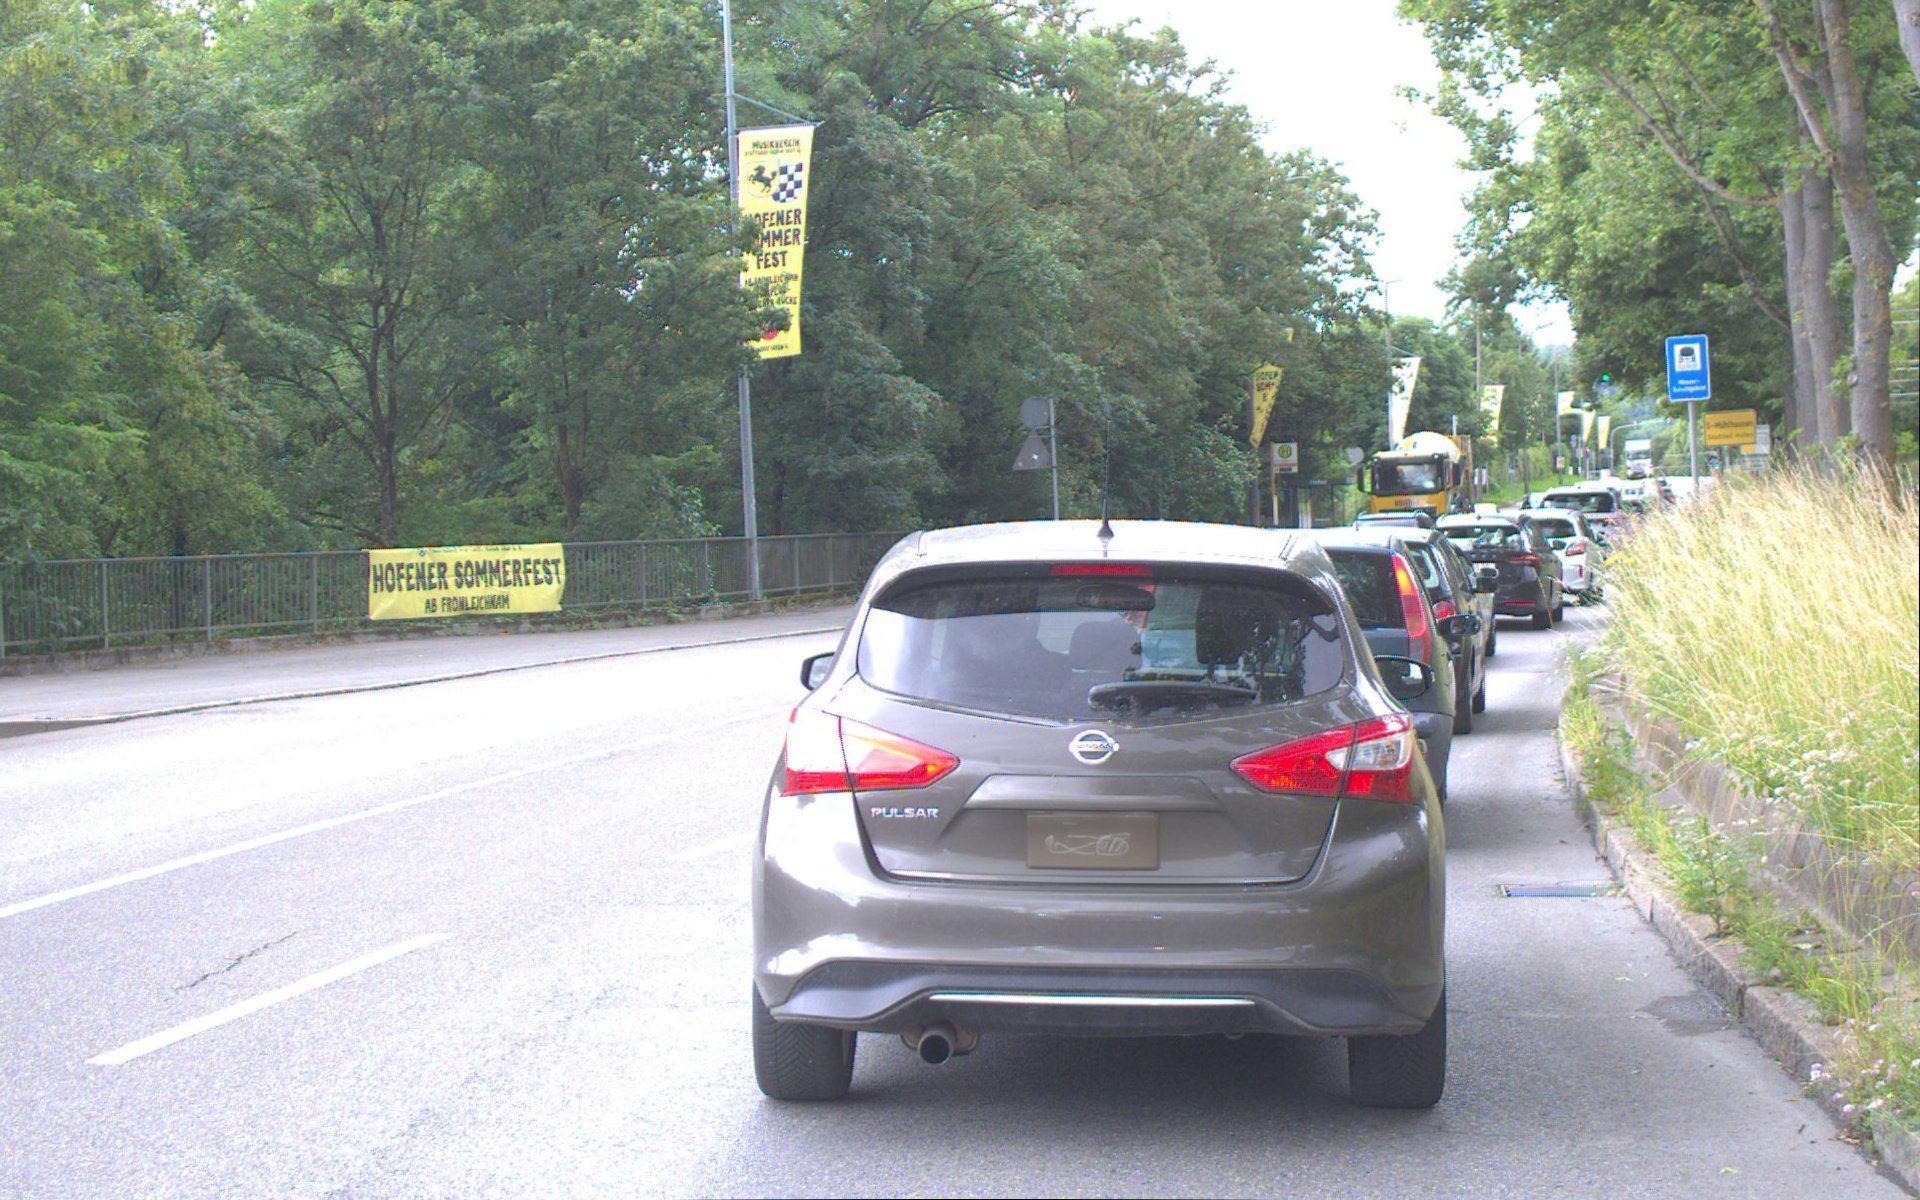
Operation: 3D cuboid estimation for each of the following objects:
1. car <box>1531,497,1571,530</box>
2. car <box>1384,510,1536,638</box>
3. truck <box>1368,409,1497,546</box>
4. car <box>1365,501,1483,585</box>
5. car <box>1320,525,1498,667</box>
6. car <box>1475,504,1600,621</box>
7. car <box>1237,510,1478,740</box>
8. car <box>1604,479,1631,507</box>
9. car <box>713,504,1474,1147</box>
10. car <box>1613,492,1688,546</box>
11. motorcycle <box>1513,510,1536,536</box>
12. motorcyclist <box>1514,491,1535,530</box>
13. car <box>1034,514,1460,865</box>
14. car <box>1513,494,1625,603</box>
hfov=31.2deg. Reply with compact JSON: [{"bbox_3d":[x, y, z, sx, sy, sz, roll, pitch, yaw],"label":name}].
[{"bbox_3d":[27.998,-4.097,162.787,1.722,1.437,3.998,-2,0,12],"label":"car"},{"bbox_3d":[6.371,-0.340,43.646,1.805,1.535,3.999,1,1,9],"label":"car"},{"bbox_3d":[14.364,-3.637,103.904,2.656,3.925,10.104,0,1,15],"label":"truck"},{"bbox_3d":[8.654,-1.036,63.892,1.852,1.481,4.418,-1,0,11],"label":"car"},{"bbox_3d":[4.686,-0.066,35.575,1.501,1.360,3.585,-2,1,12],"label":"car"},{"bbox_3d":[9.061,-0.549,53.761,1.719,1.687,3.998,-2,-1,12],"label":"car"},{"bbox_3d":[3.011,0.148,25.510,1.578,1.533,3.999,-2,0,9],"label":"car"},{"bbox_3d":[44.609,-7.268,233.172,1.719,1.687,3.723,-2,-1,12],"label":"car"},{"bbox_3d":[0.455,0.514,10.059,1.775,1.489,3.999,0,0,4],"label":"car"},{"bbox_3d":[19.272,-2.251,95.858,1.892,1.440,3.805,-1,1,13],"label":"car"},{"bbox_3d":[22.193,-3.027,135.160,0.745,1.030,1.887,0,2,14],"label":"motorcycle"},{"bbox_3d":[22.198,-3.511,135.212,0.745,1.533,0.790,0,1,14],"label":"motorcyclist"},{"bbox_3d":[1.482,0.399,17.440,1.893,1.568,3.999,0,0,6],"label":"car"},{"bbox_3d":[11.824,-1.014,66.570,1.892,2.007,3.998,-1,1,13],"label":"car"}]
